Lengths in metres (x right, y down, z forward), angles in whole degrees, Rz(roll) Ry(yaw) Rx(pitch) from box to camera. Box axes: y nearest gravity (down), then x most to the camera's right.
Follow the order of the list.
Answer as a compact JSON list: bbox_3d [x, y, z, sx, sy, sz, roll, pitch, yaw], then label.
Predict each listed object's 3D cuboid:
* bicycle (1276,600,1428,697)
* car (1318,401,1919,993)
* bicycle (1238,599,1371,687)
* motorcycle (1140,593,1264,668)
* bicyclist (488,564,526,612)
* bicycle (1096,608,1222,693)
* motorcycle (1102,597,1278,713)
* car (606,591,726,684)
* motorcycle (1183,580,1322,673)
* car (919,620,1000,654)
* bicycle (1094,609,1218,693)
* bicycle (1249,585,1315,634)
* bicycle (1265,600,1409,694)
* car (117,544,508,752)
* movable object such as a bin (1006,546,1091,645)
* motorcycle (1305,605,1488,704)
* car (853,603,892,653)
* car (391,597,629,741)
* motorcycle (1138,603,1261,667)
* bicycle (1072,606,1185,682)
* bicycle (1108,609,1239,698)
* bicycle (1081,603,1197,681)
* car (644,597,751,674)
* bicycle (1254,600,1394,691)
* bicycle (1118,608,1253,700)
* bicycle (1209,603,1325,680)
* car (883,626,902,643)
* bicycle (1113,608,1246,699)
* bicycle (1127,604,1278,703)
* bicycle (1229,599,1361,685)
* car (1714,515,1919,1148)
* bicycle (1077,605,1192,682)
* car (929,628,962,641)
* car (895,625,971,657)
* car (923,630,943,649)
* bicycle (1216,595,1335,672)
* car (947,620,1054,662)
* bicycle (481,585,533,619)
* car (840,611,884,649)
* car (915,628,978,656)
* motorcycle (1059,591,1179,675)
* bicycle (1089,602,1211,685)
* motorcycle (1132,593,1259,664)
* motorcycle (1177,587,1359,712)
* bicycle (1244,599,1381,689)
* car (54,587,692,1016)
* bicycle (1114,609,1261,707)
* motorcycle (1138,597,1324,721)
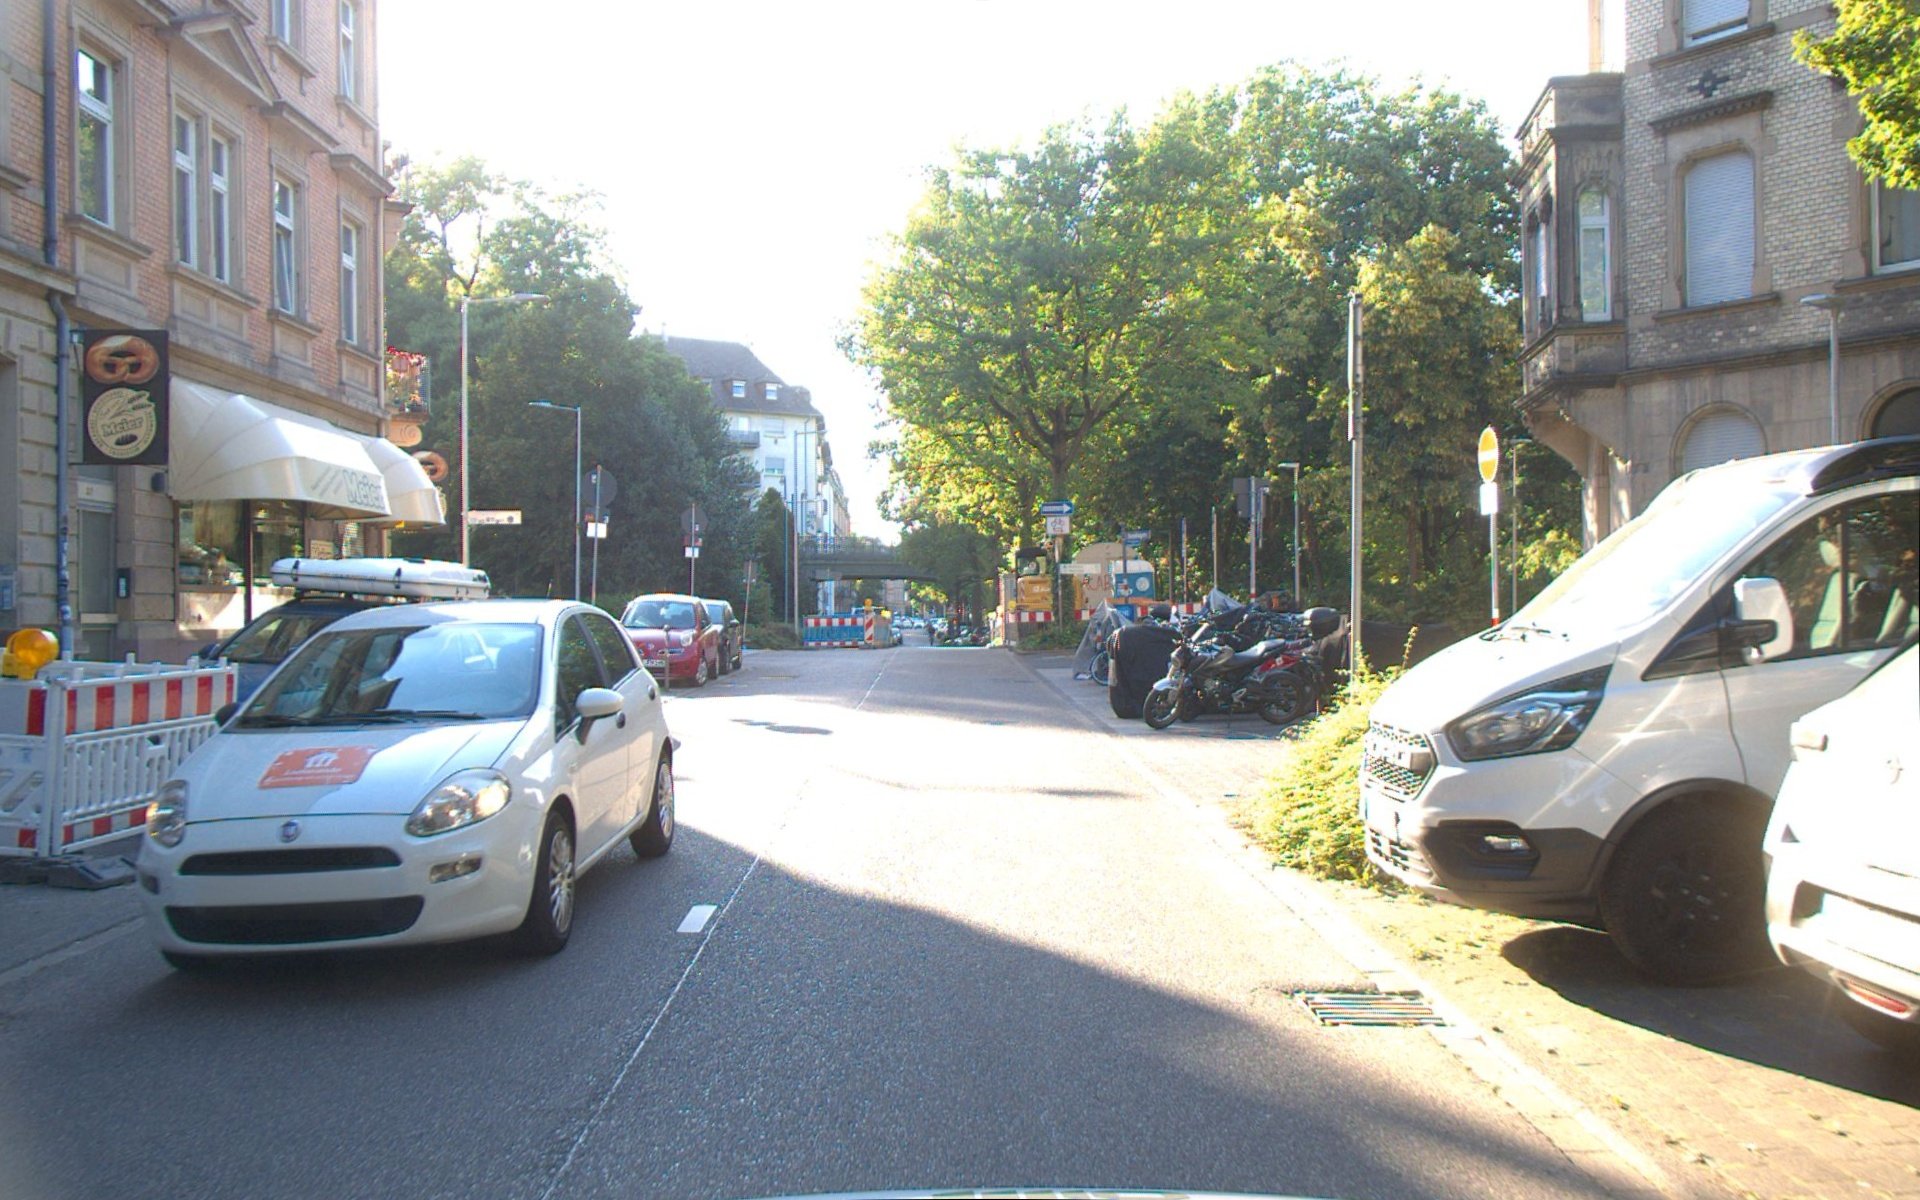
[{"bbox_3d":[5.264,0.641,22.265,1.887,1.268,0.647,0,0,-7],"label":"bicycle"},{"bbox_3d":[4.219,0.323,7.116,4.872,2.132,2.105,-1,0,-1],"label":"car"},{"bbox_3d":[5.085,0.625,24.421,1.887,1.268,0.395,0,0,-7],"label":"bicycle"},{"bbox_3d":[4.464,0.557,30.521,2.234,1.365,0.657,0,-1,11],"label":"motorcycle"},{"bbox_3d":[-13.481,-0.345,49.186,0.797,1.407,0.972,1,0,-36],"label":"bicyclist"},{"bbox_3d":[3.017,0.762,25.127,1.887,1.268,0.302,0,0,-7],"label":"bicycle"},{"bbox_3d":[2.837,0.666,20.541,1.983,1.307,0.903,-3,0,-3],"label":"motorcycle"},{"bbox_3d":[-5.199,0.626,29.650,1.636,1.557,3.997,0,0,-3],"label":"car"},{"bbox_3d":[5.043,0.450,28.605,2.239,1.558,0.755,0,-1,-7],"label":"motorcycle"},{"bbox_3d":[-0.025,2.024,90.112,4.300,1.732,1.915,1,-3,-4],"label":"car"},{"bbox_3d":[3.019,0.775,25.465,1.887,1.268,0.302,0,0,-7],"label":"bicycle"},{"bbox_3d":[8.973,0.242,46.136,1.006,1.308,2.140,-2,1,-13],"label":"bicycle"},{"bbox_3d":[5.203,0.637,22.865,1.887,1.268,0.479,0,0,-7],"label":"bicycle"},{"bbox_3d":[-5.182,0.328,13.899,1.729,1.462,4.299,-1,0,-2],"label":"car"},{"bbox_3d":[2.576,-0.120,47.432,1.951,2.747,3.113,0,0,12],"label":"movable object such as a bin"},{"bbox_3d":[5.389,0.661,20.506,1.982,1.128,0.903,-2,0,-3],"label":"motorcycle"},{"bbox_3d":[-4.756,1.564,89.613,2.006,2.541,5.692,1,-3,-3],"label":"car"},{"bbox_3d":[-5.111,0.718,19.319,1.690,1.462,3.995,1,0,0],"label":"car"},{"bbox_3d":[4.550,0.657,31.368,2.234,1.200,0.972,0,0,12],"label":"motorcycle"},{"bbox_3d":[2.863,0.740,28.055,1.887,1.268,0.302,0,0,-7],"label":"bicycle"},{"bbox_3d":[3.112,0.770,24.111,1.887,1.268,0.302,0,0,-7],"label":"bicycle"},{"bbox_3d":[2.956,0.690,27.376,1.887,1.268,0.302,0,0,-7],"label":"bicycle"},{"bbox_3d":[-5.347,0.693,34.100,1.635,1.483,3.999,0,0,-1],"label":"car"},{"bbox_3d":[5.139,0.633,23.366,1.887,1.268,0.479,0,0,-7],"label":"bicycle"},{"bbox_3d":[3.195,0.760,23.454,1.887,1.268,0.302,0,0,-7],"label":"bicycle"},{"bbox_3d":[5.201,0.694,28.015,1.887,1.268,0.452,0,0,-7],"label":"bicycle"},{"bbox_3d":[-6.366,3.264,156.213,1.776,1.422,3.973,-2,-2,-2],"label":"car"},{"bbox_3d":[3.156,0.762,23.788,1.887,1.268,0.302,0,0,-7],"label":"bicycle"},{"bbox_3d":[3.222,0.698,22.003,1.887,1.268,0.647,0,0,-7],"label":"bicycle"},{"bbox_3d":[5.049,0.621,24.952,1.887,1.268,0.479,0,0,-7],"label":"bicycle"},{"bbox_3d":[4.331,0.569,4.501,3.762,1.623,1.740,-1,0,-1],"label":"car"},{"bbox_3d":[2.923,0.725,27.696,1.887,1.268,0.302,0,0,-7],"label":"bicycle"},{"bbox_3d":[-1.941,4.583,217.653,4.298,1.638,1.780,1,-3,-1],"label":"car"},{"bbox_3d":[-1.574,2.381,95.859,4.300,1.732,1.915,1,-3,-4],"label":"car"},{"bbox_3d":[-2.442,3.556,149.289,1.739,1.638,4.400,-1,-1,-1],"label":"car"},{"bbox_3d":[5.247,0.550,27.497,1.887,1.268,0.479,0,0,-7],"label":"bicycle"},{"bbox_3d":[1.662,1.738,69.254,4.302,1.634,1.914,1,-3,-5],"label":"car"},{"bbox_3d":[-13.477,0.050,49.171,0.797,0.985,2.081,1,0,-36],"label":"bicycle"},{"bbox_3d":[-4.097,1.270,69.660,1.681,1.443,4.104,-2,-2,-2],"label":"car"},{"bbox_3d":[-0.941,2.941,115.190,4.300,1.816,1.915,1,-3,-4],"label":"car"},{"bbox_3d":[2.811,0.574,29.191,1.894,1.437,0.940,0,0,27],"label":"motorcycle"},{"bbox_3d":[2.966,0.669,25.763,1.869,1.268,0.302,0,0,-7],"label":"bicycle"},{"bbox_3d":[4.659,0.555,32.816,2.322,1.365,0.938,0,-1,-11],"label":"motorcycle"},{"bbox_3d":[3.628,0.577,19.577,1.982,1.386,0.694,-2,0,-1],"label":"motorcycle"},{"bbox_3d":[5.085,0.630,23.874,1.887,1.268,0.479,0,0,-7],"label":"bicycle"},{"bbox_3d":[-2.462,0.722,8.036,1.713,1.535,3.999,-1,0,-1],"label":"car"},{"bbox_3d":[2.916,0.736,21.230,1.781,1.147,0.443,-3,0,-2],"label":"bicycle"},{"bbox_3d":[3.039,0.650,18.638,1.975,1.350,0.620,-1,0,-5],"label":"motorcycle"}]
